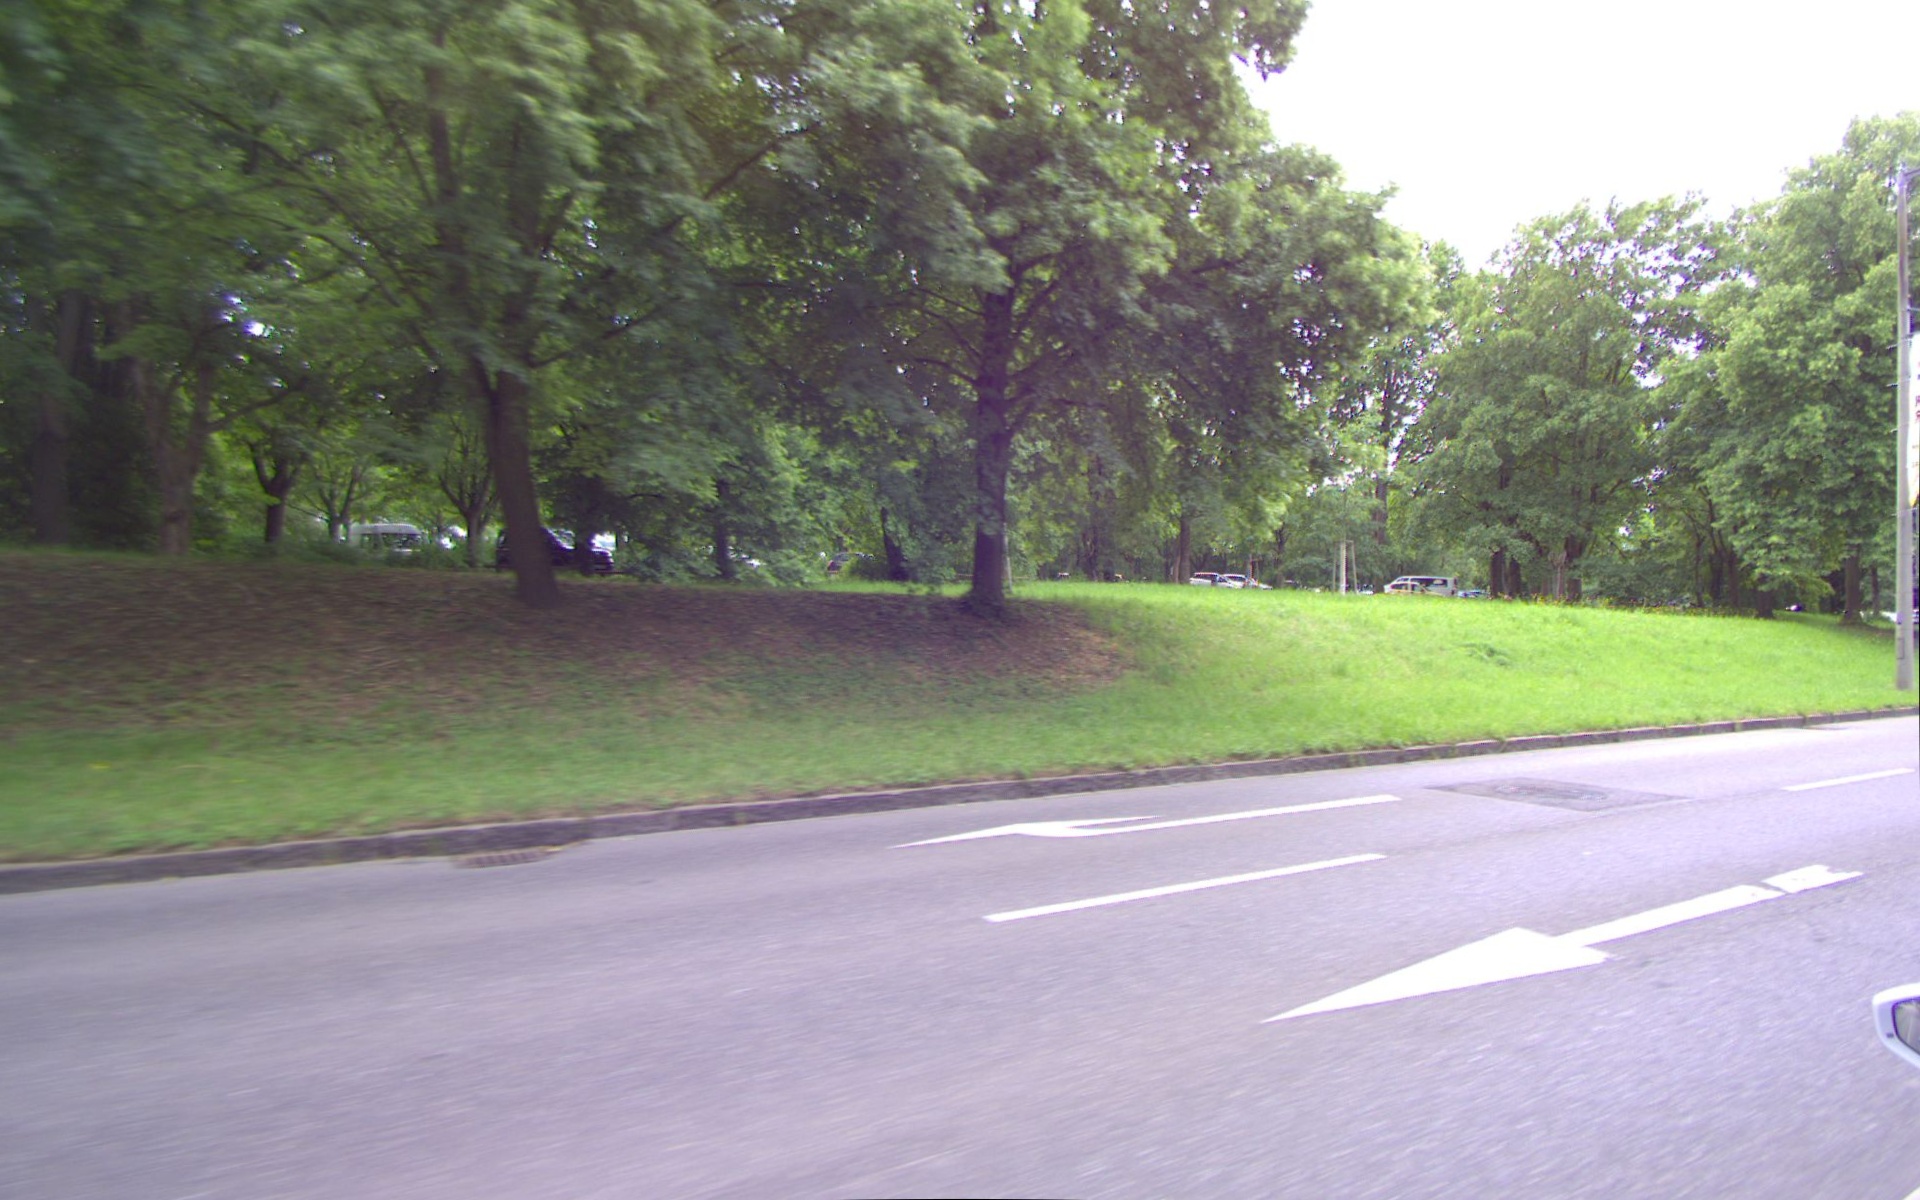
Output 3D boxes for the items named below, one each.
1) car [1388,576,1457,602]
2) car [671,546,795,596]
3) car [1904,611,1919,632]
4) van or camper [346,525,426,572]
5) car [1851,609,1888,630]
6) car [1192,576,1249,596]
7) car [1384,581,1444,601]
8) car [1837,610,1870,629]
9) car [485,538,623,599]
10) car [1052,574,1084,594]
[{"bbox_3d":[31.983,-0.776,69.461,4.049,1.706,1.747,1,0,37],"label":"car"},{"bbox_3d":[-9.401,-1.190,41.499,4.821,1.921,2.314,2,0,34],"label":"car"},{"bbox_3d":[70.532,1.606,73.500,1.624,1.506,3.986,2,0,36],"label":"car"},{"bbox_3d":[-26.650,-2.343,46.596,4.158,2.040,1.916,1,0,40],"label":"van or camper"},{"bbox_3d":[68.613,1.468,75.823,1.624,1.506,3.986,2,0,36],"label":"car"},{"bbox_3d":[17.634,-0.958,68.114,3.449,1.250,1.396,2,0,33],"label":"car"},{"bbox_3d":[30.389,-0.589,67.283,3.449,1.226,1.396,2,0,33],"label":"car"},{"bbox_3d":[74.717,1.670,84.012,1.624,1.506,3.986,2,0,36],"label":"car"},{"bbox_3d":[-13.955,-1.061,34.438,4.821,1.921,1.994,2,0,34],"label":"car"},{"bbox_3d":[12.154,-1.766,112.585,1.872,2.087,3.972,2,0,35],"label":"car"}]
